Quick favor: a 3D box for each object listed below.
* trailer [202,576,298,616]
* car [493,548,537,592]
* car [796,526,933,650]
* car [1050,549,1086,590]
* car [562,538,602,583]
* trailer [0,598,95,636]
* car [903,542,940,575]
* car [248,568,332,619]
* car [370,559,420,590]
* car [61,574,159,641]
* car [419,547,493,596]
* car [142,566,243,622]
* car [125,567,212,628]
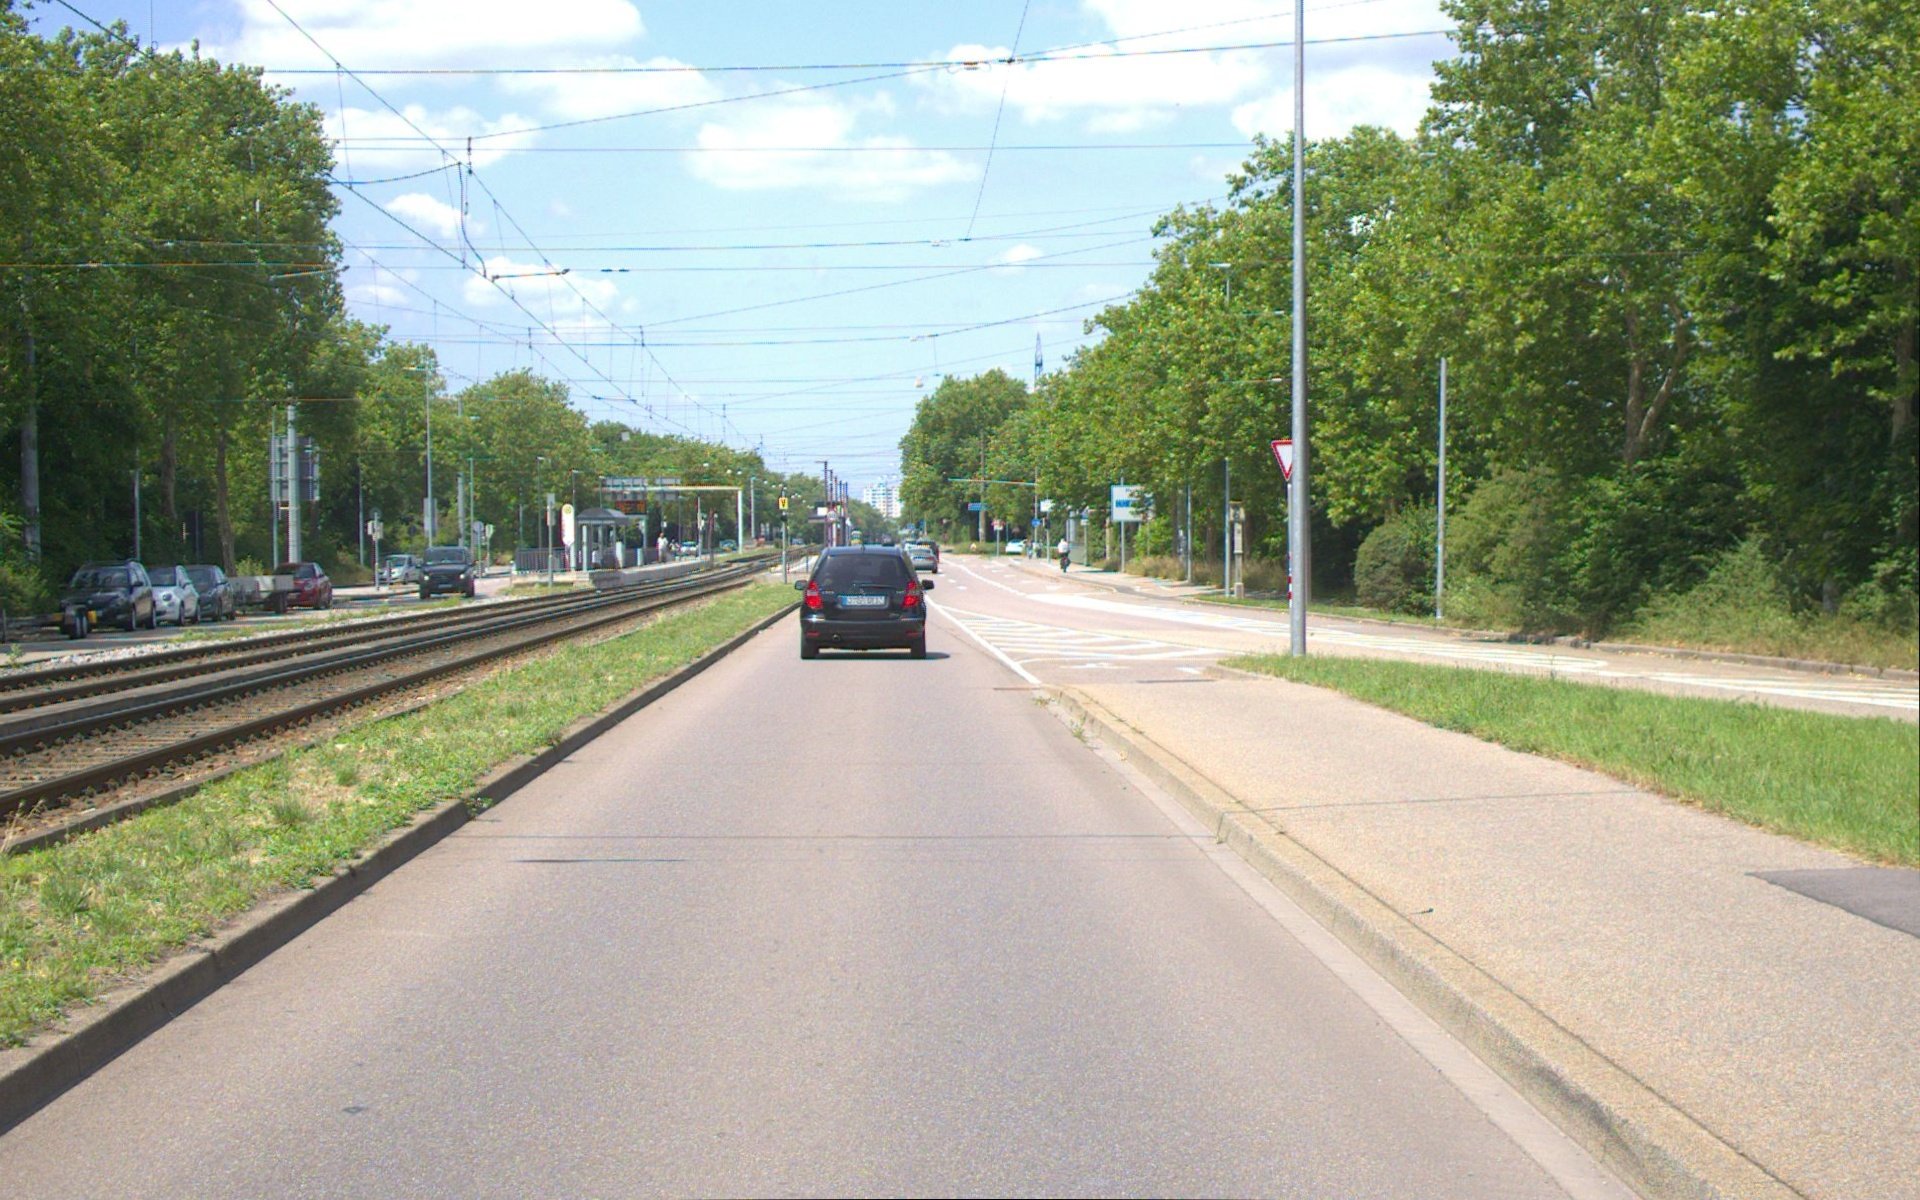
[{"bbox_3d":[-20.315,-0.136,98.536,1.892,1.040,5.104,1,1,-3],"label":"trailer"},{"bbox_3d":[-21.840,-1.480,168.652,1.993,2.006,4.001,1,2,-6],"label":"car"},{"bbox_3d":[-1.322,-0.212,49.114,1.853,1.564,4.389,1,3,0],"label":"car"},{"bbox_3d":[5.557,-1.585,177.524,1.612,2.006,3.440,1,2,-2],"label":"car"},{"bbox_3d":[-17.875,-1.890,162.815,1.585,2.006,4.111,1,2,-3],"label":"car"},{"bbox_3d":[-18.908,0.343,69.391,1.993,0.740,4.000,0,0,-2],"label":"trailer"},{"bbox_3d":[-2.045,-2.256,185.443,1.885,1.634,4.000,3,2,0],"label":"car"},{"bbox_3d":[-20.949,-0.222,107.610,1.993,1.568,4.000,0,1,-2],"label":"car"},{"bbox_3d":[-28.960,-1.334,176.344,1.993,1.568,4.000,0,1,-1],"label":"car"},{"bbox_3d":[-19.146,0.149,77.552,1.433,1.446,3.922,0,1,-3],"label":"car"},{"bbox_3d":[-18.701,-1.069,127.649,2.116,1.784,5.406,0,1,-2],"label":"car"},{"bbox_3d":[-19.935,-0.167,89.427,1.870,1.396,4.419,0,1,-3],"label":"car"},{"bbox_3d":[-19.280,-0.071,83.823,1.433,1.446,3.741,0,1,-3],"label":"car"}]
